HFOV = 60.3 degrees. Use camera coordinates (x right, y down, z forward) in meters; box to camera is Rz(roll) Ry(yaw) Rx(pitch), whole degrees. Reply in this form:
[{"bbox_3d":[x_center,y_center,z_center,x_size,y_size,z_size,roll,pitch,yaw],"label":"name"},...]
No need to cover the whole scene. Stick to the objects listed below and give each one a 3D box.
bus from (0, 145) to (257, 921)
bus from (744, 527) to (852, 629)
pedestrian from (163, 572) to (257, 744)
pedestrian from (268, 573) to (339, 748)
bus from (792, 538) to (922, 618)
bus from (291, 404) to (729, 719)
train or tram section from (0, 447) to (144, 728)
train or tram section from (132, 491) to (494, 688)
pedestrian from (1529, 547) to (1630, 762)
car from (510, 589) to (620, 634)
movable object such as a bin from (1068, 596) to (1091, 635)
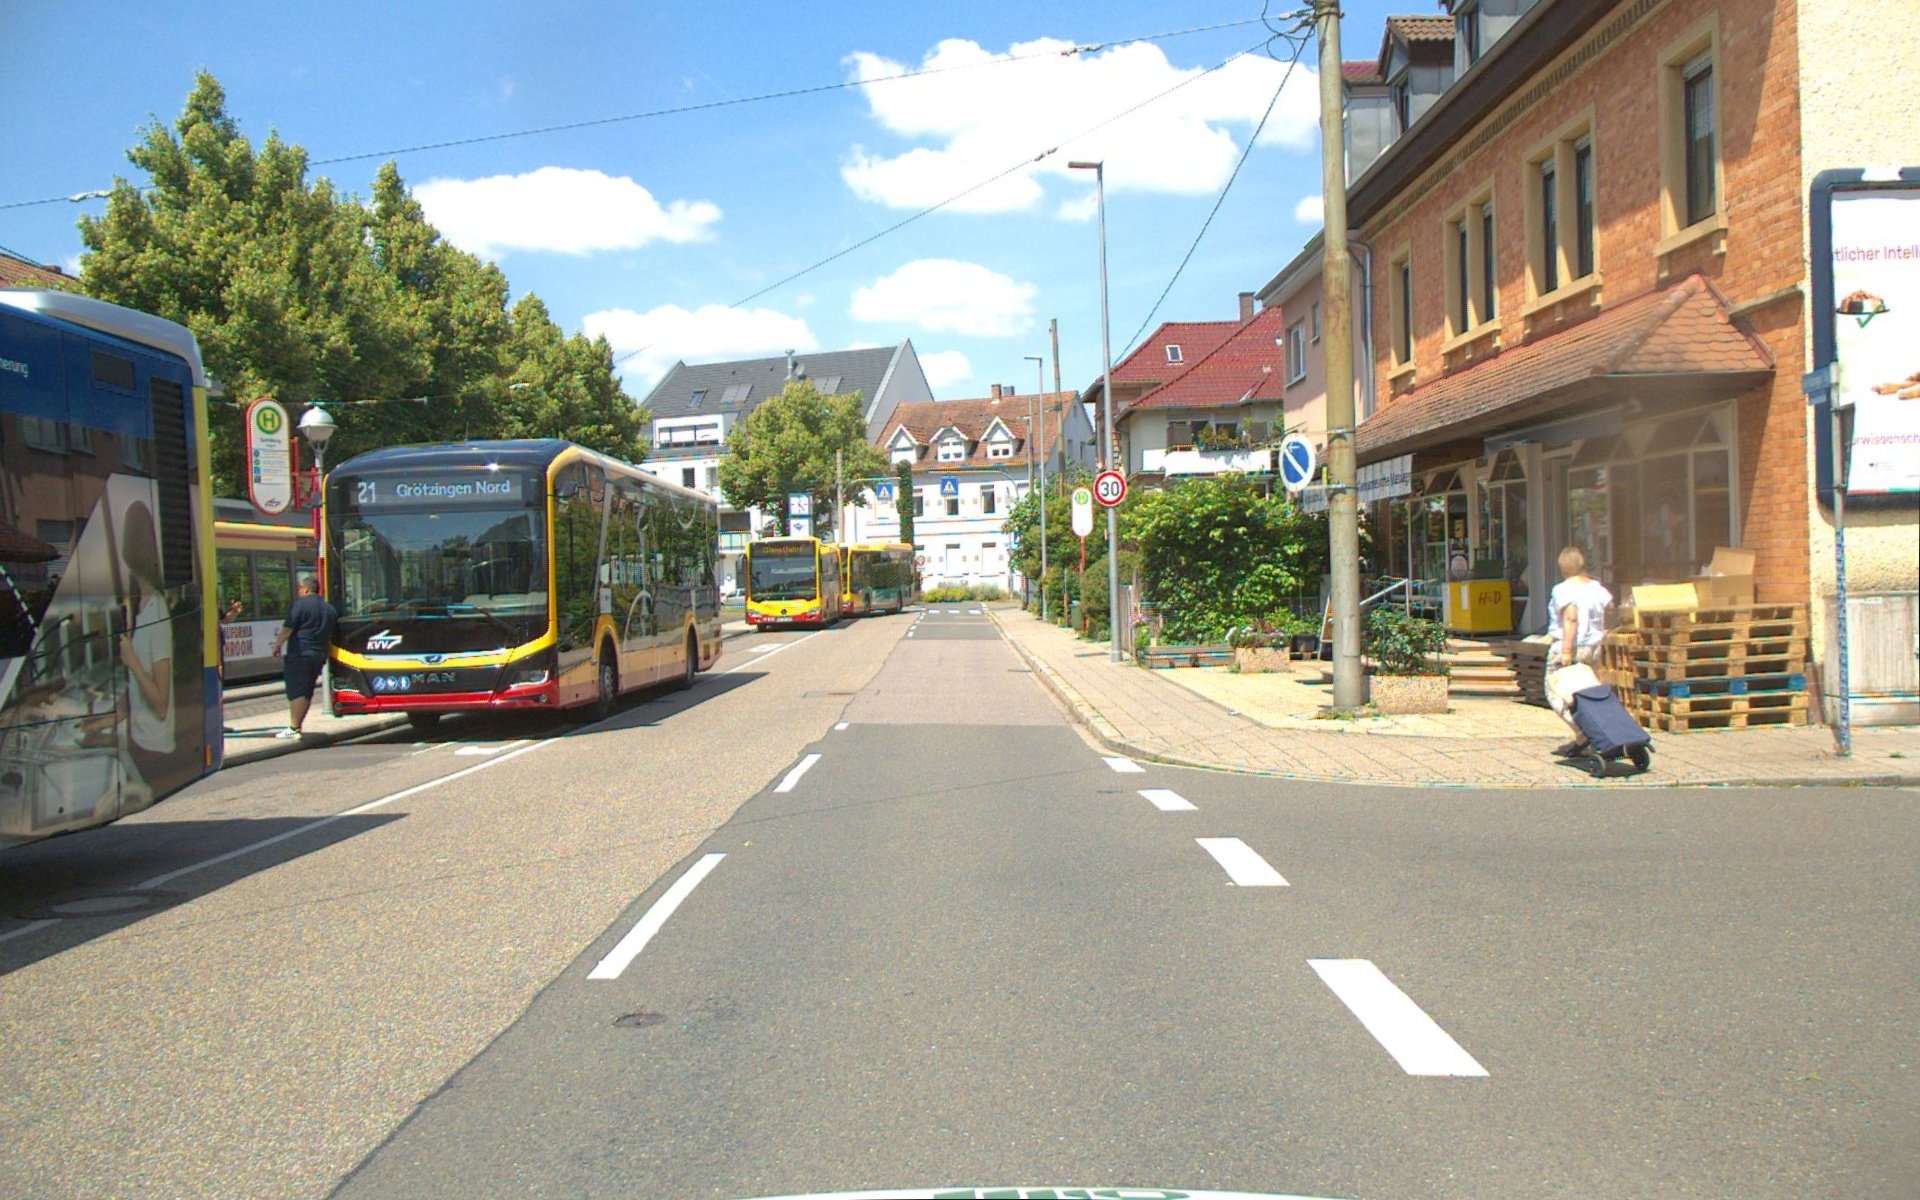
[{"bbox_3d":[-5.697,-0.347,4.123,2.849,3.487,12.037,0,-1,-1],"label":"bus"},{"bbox_3d":[-5.657,-0.726,59.774,2.848,3.304,12.116,0,0,-1],"label":"bus"},{"bbox_3d":[-8.085,0.615,17.825,0.776,1.808,0.565,1,-1,-43],"label":"pedestrian"},{"bbox_3d":[-6.927,0.630,17.448,0.589,1.808,0.380,1,-1,-43],"label":"pedestrian"},{"bbox_3d":[-4.331,-1.048,73.256,2.720,3.264,12.318,0,1,11],"label":"bus"},{"bbox_3d":[-5.582,-0.325,23.515,2.838,3.304,12.195,0,-1,0],"label":"bus"},{"bbox_3d":[-14.088,-0.153,16.967,2.903,3.706,17.350,0,0,0],"label":"train or tram section"},{"bbox_3d":[-14.140,-0.219,38.103,2.903,3.706,13.993,0,0,0],"label":"train or tram section"},{"bbox_3d":[4.995,0.427,13.354,0.690,1.670,0.660,-2,2,20],"label":"pedestrian"},{"bbox_3d":[-12.516,0.380,52.413,3.230,1.397,1.460,1,-1,-21],"label":"car"},{"bbox_3d":[2.932,0.378,40.646,0.398,0.922,0.729,-5,-1,-3],"label":"movable object such as a bin"}]
